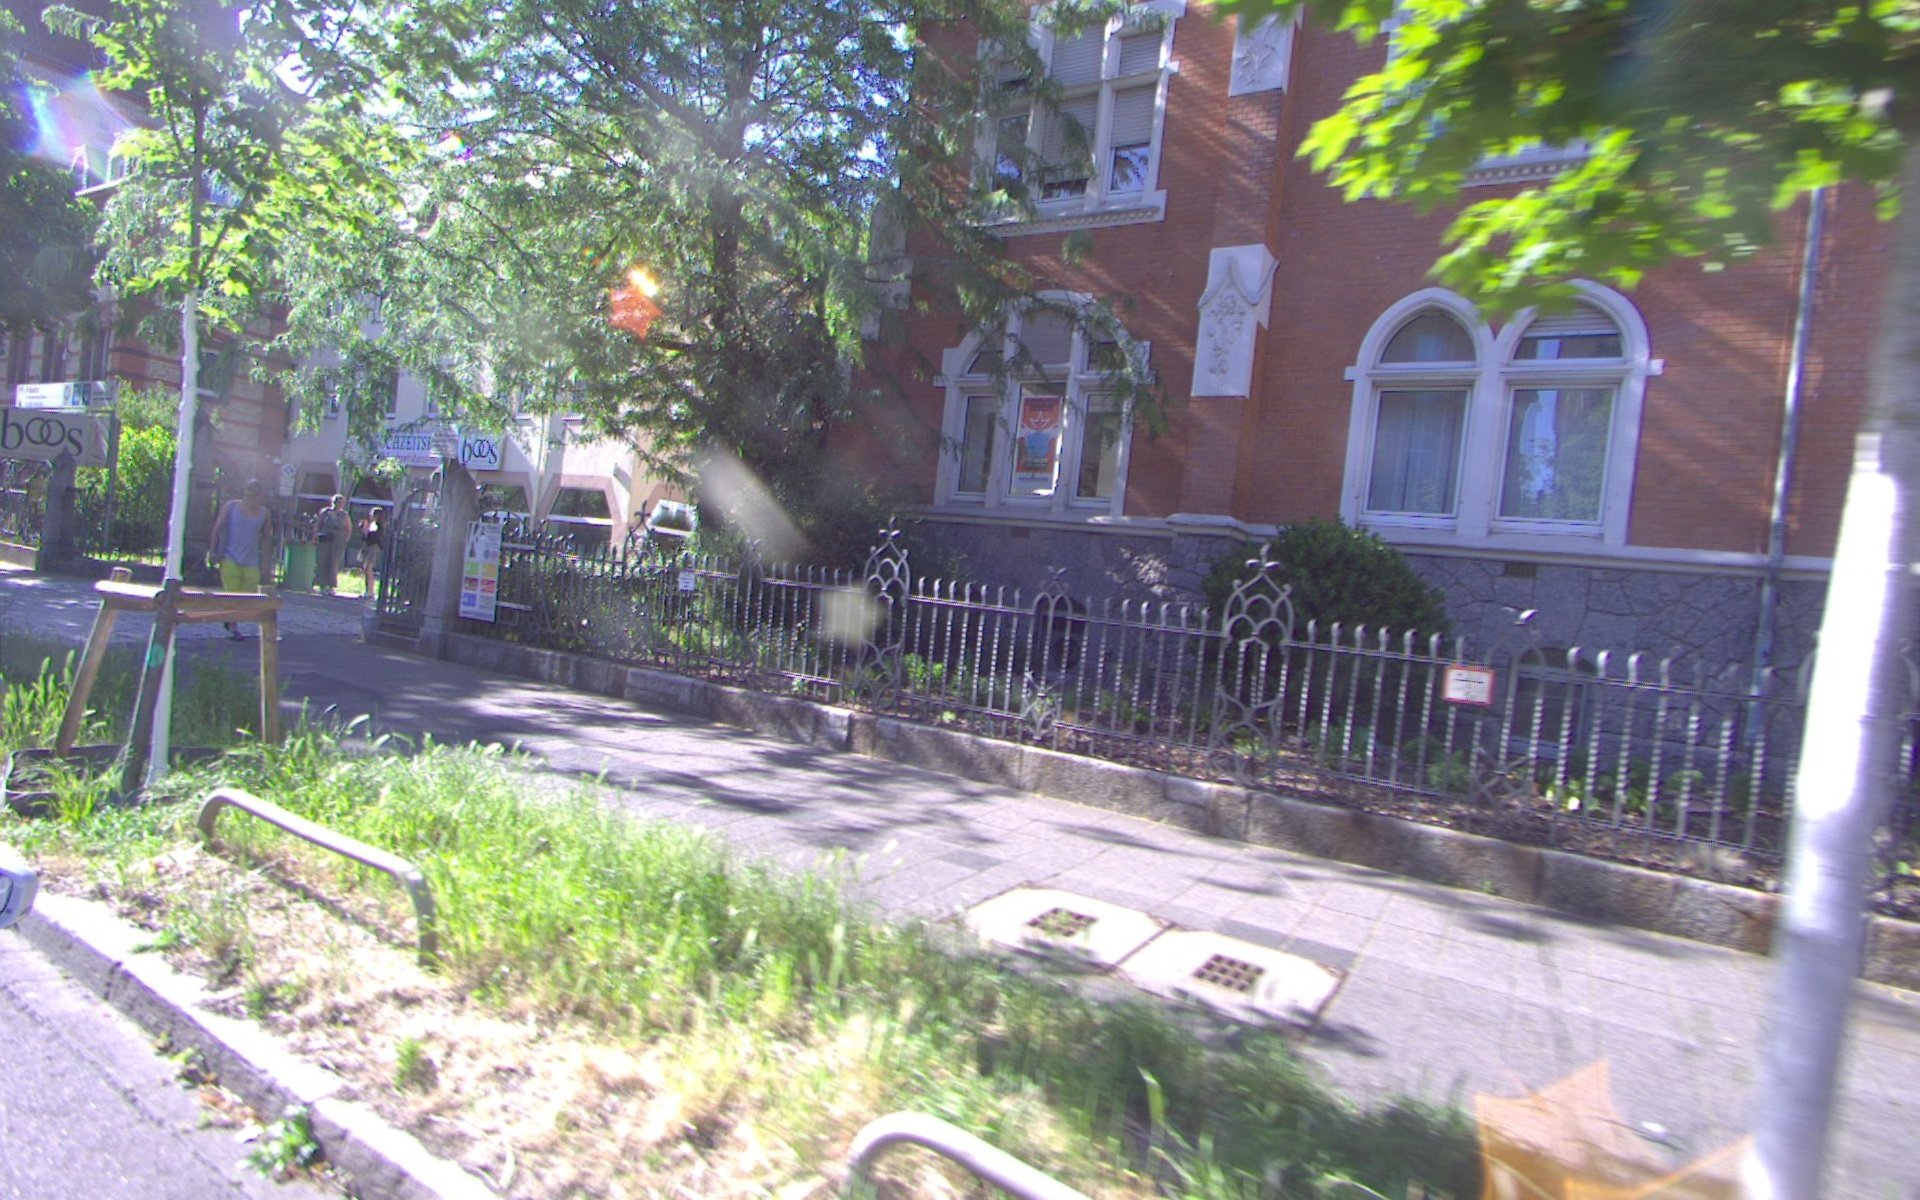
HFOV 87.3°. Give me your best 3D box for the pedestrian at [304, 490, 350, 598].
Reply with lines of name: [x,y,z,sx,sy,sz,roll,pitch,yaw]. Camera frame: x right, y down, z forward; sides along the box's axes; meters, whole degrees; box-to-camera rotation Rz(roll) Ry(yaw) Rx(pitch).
pedestrian: [-10.951,-0.968,17.417,0.536,1.802,0.528,5,2,-30]

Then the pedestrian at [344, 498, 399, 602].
pedestrian: [-10.310,-0.868,17.628,0.506,1.732,0.539,7,2,24]

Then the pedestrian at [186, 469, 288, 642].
pedestrian: [-7.948,-0.483,11.054,0.744,1.812,0.800,1,5,-45]

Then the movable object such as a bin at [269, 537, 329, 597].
movable object such as a bin: [-11.587,-0.578,17.639,0.656,0.979,0.625,7,3,31]

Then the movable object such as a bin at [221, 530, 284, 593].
movable object such as a bin: [-11.987,-0.650,17.042,0.656,0.979,0.625,7,3,31]
